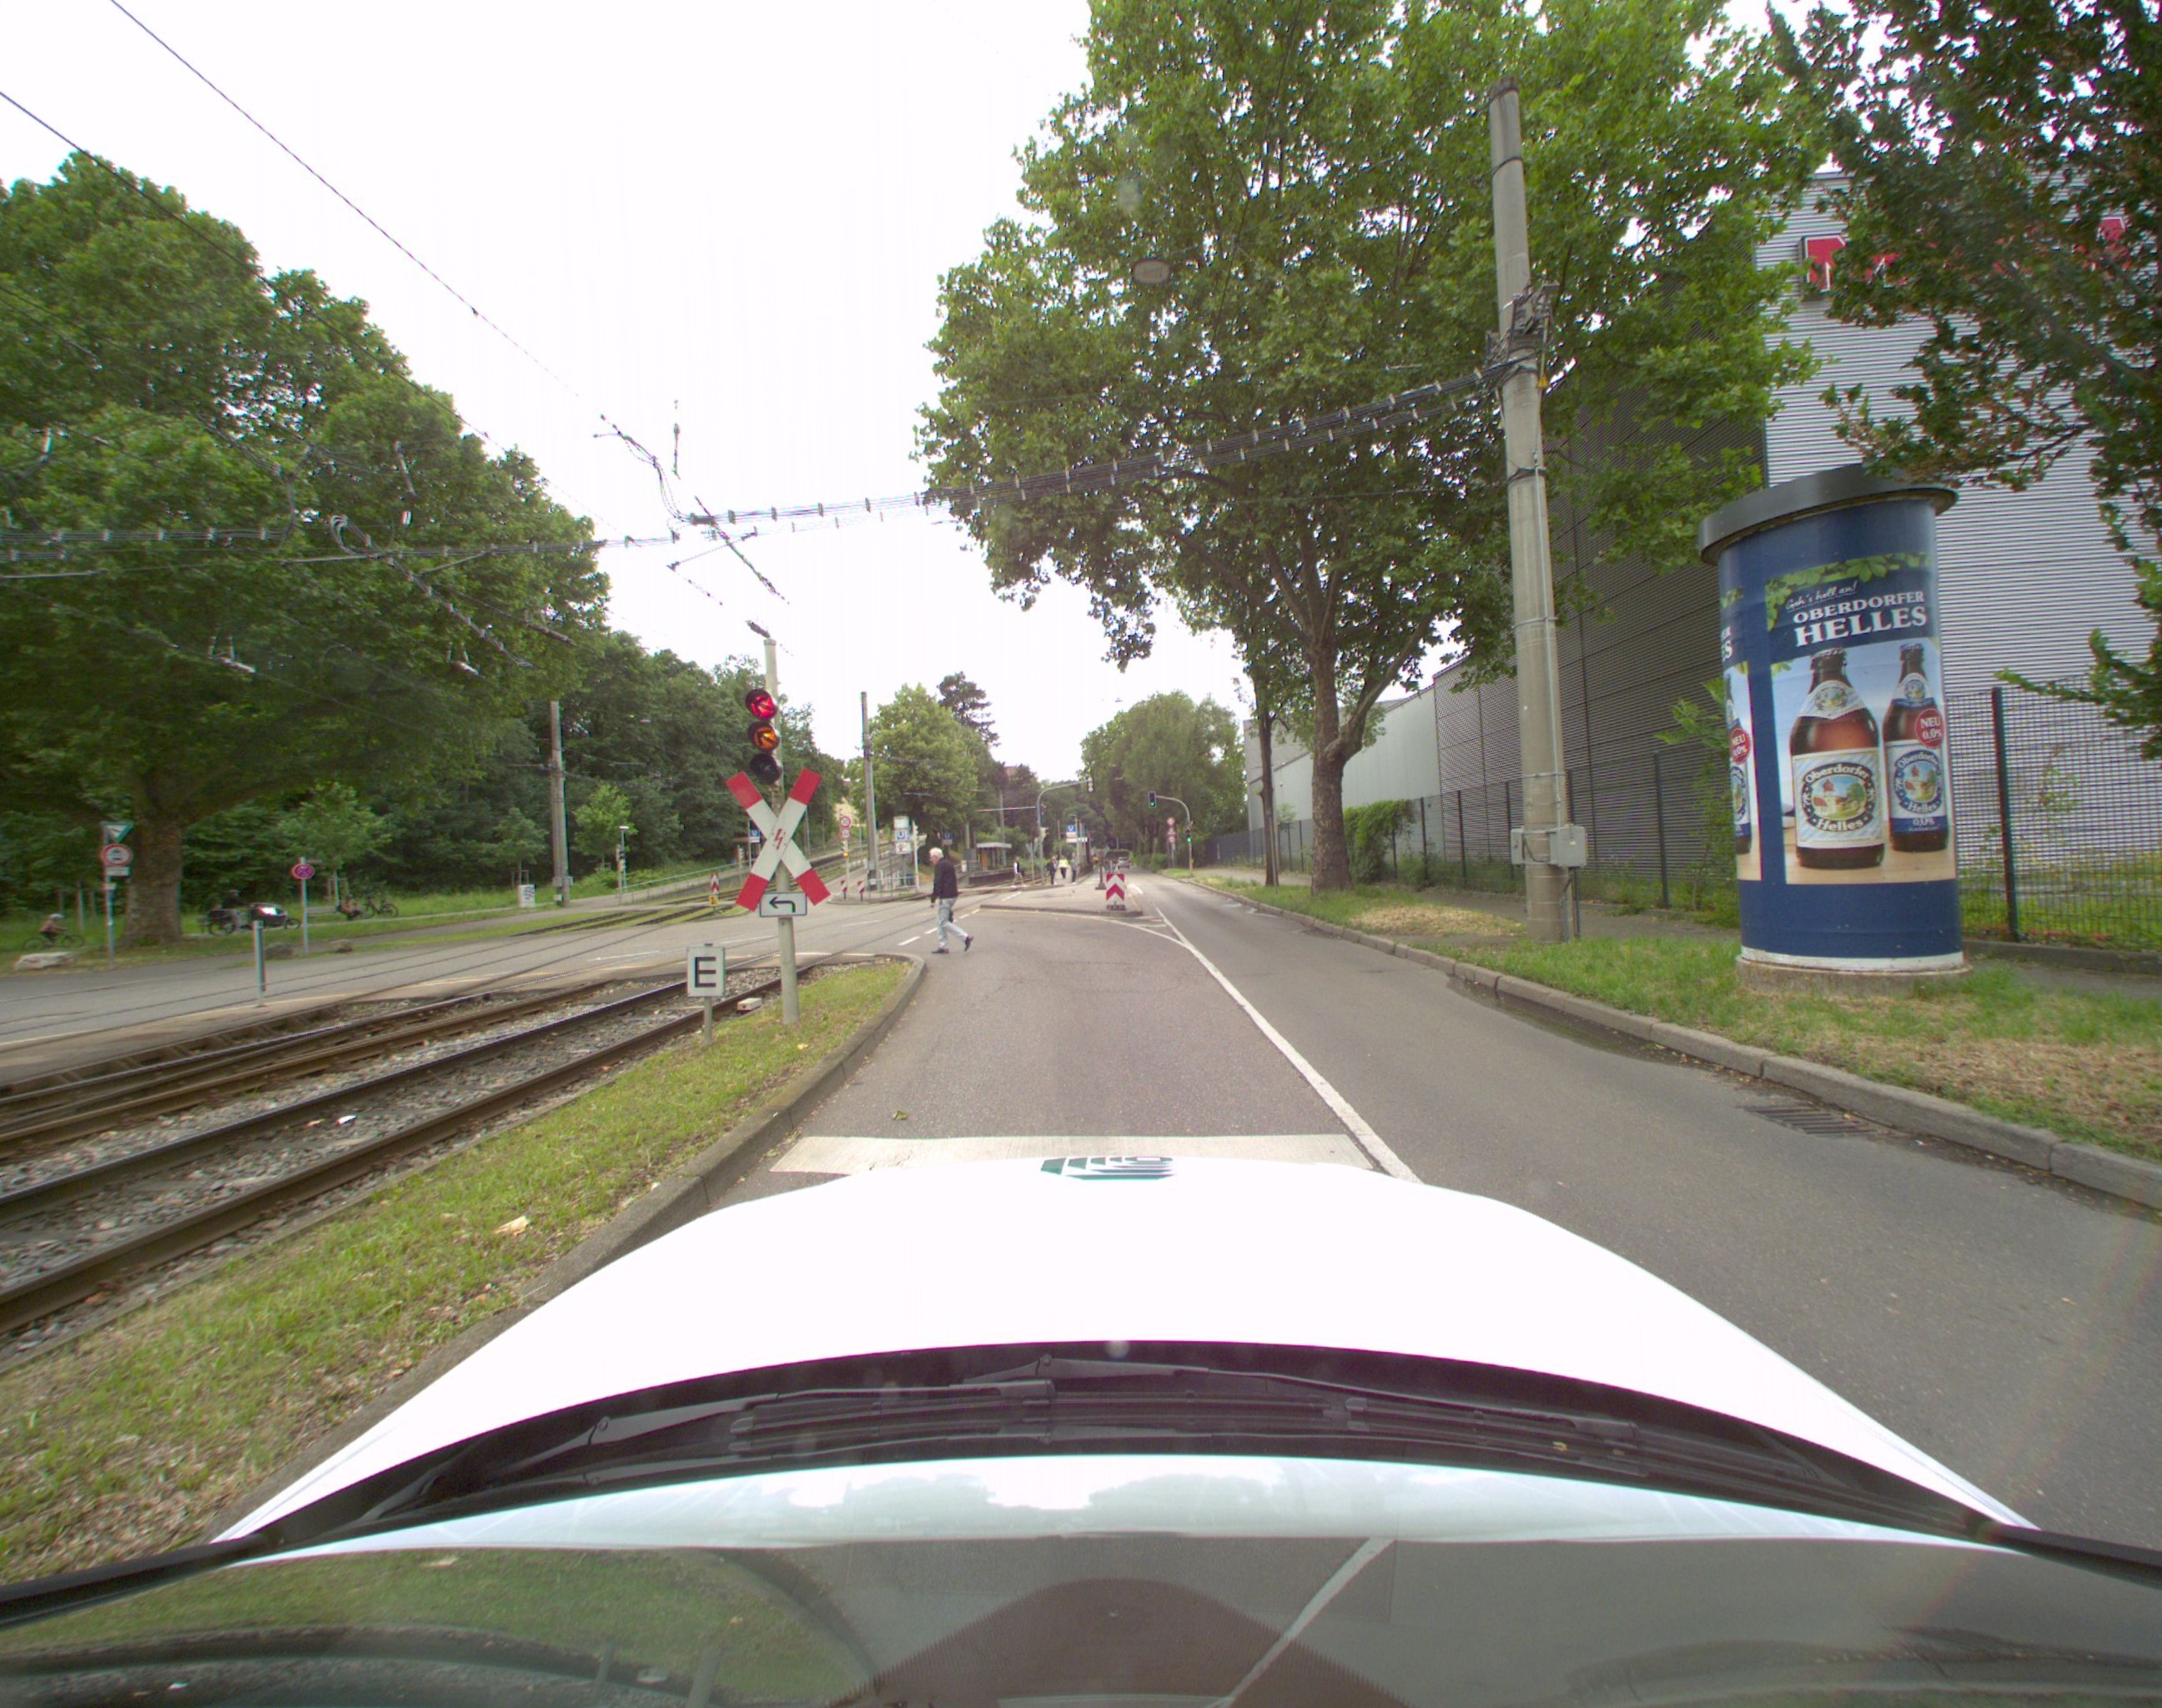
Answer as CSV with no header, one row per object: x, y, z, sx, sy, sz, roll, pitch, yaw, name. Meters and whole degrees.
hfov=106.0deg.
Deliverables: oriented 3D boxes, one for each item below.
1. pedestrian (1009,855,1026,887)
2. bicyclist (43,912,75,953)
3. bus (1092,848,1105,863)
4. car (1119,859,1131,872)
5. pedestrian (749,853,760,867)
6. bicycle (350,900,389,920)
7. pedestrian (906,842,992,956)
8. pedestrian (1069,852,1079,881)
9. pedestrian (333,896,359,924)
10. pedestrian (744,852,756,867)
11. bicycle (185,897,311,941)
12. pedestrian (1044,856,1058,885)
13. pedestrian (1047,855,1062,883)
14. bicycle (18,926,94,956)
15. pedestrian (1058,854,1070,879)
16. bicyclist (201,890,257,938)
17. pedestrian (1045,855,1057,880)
-3.705,0.996,47.748,0.807,1.821,0.664,0,-1,-27,pedestrian
-35.479,2.717,28.271,0.449,1.301,0.585,2,4,32,bicyclist
4.228,0.420,195.551,2.722,3.626,8.950,0,-1,4,bus
6.347,1.671,118.059,1.737,1.598,4.003,-1,2,2,car
-30.804,0.545,76.928,0.771,1.326,0.785,0,-1,-6,pedestrian
-33.477,2.647,38.313,1.726,0.885,0.625,-1,-1,21,bicycle
-2.155,0.705,13.297,1.106,1.760,0.818,-1,-1,34,pedestrian
-0.449,0.775,50.957,0.547,1.758,0.739,0,-1,6,pedestrian
-33.491,2.558,37.125,0.574,1.235,0.676,-1,-1,15,pedestrian
-30.772,0.535,75.754,0.771,1.326,0.785,0,2,-6,pedestrian
-33.008,2.542,32.376,0.726,1.289,3.368,1,4,28,bicycle
-1.732,0.951,47.209,0.732,1.665,0.682,0,-1,3,pedestrian
-1.605,0.925,49.658,0.674,1.665,0.741,-1,-1,17,pedestrian
-35.510,3.004,28.230,0.449,0.738,1.569,2,5,32,bicycle
-1.144,0.844,54.223,0.735,1.665,0.679,0,-1,-9,pedestrian
-33.277,2.327,31.830,0.726,1.711,1.301,1,3,28,bicyclist
-1.985,0.873,53.562,0.735,1.665,0.679,0,-1,-9,pedestrian
